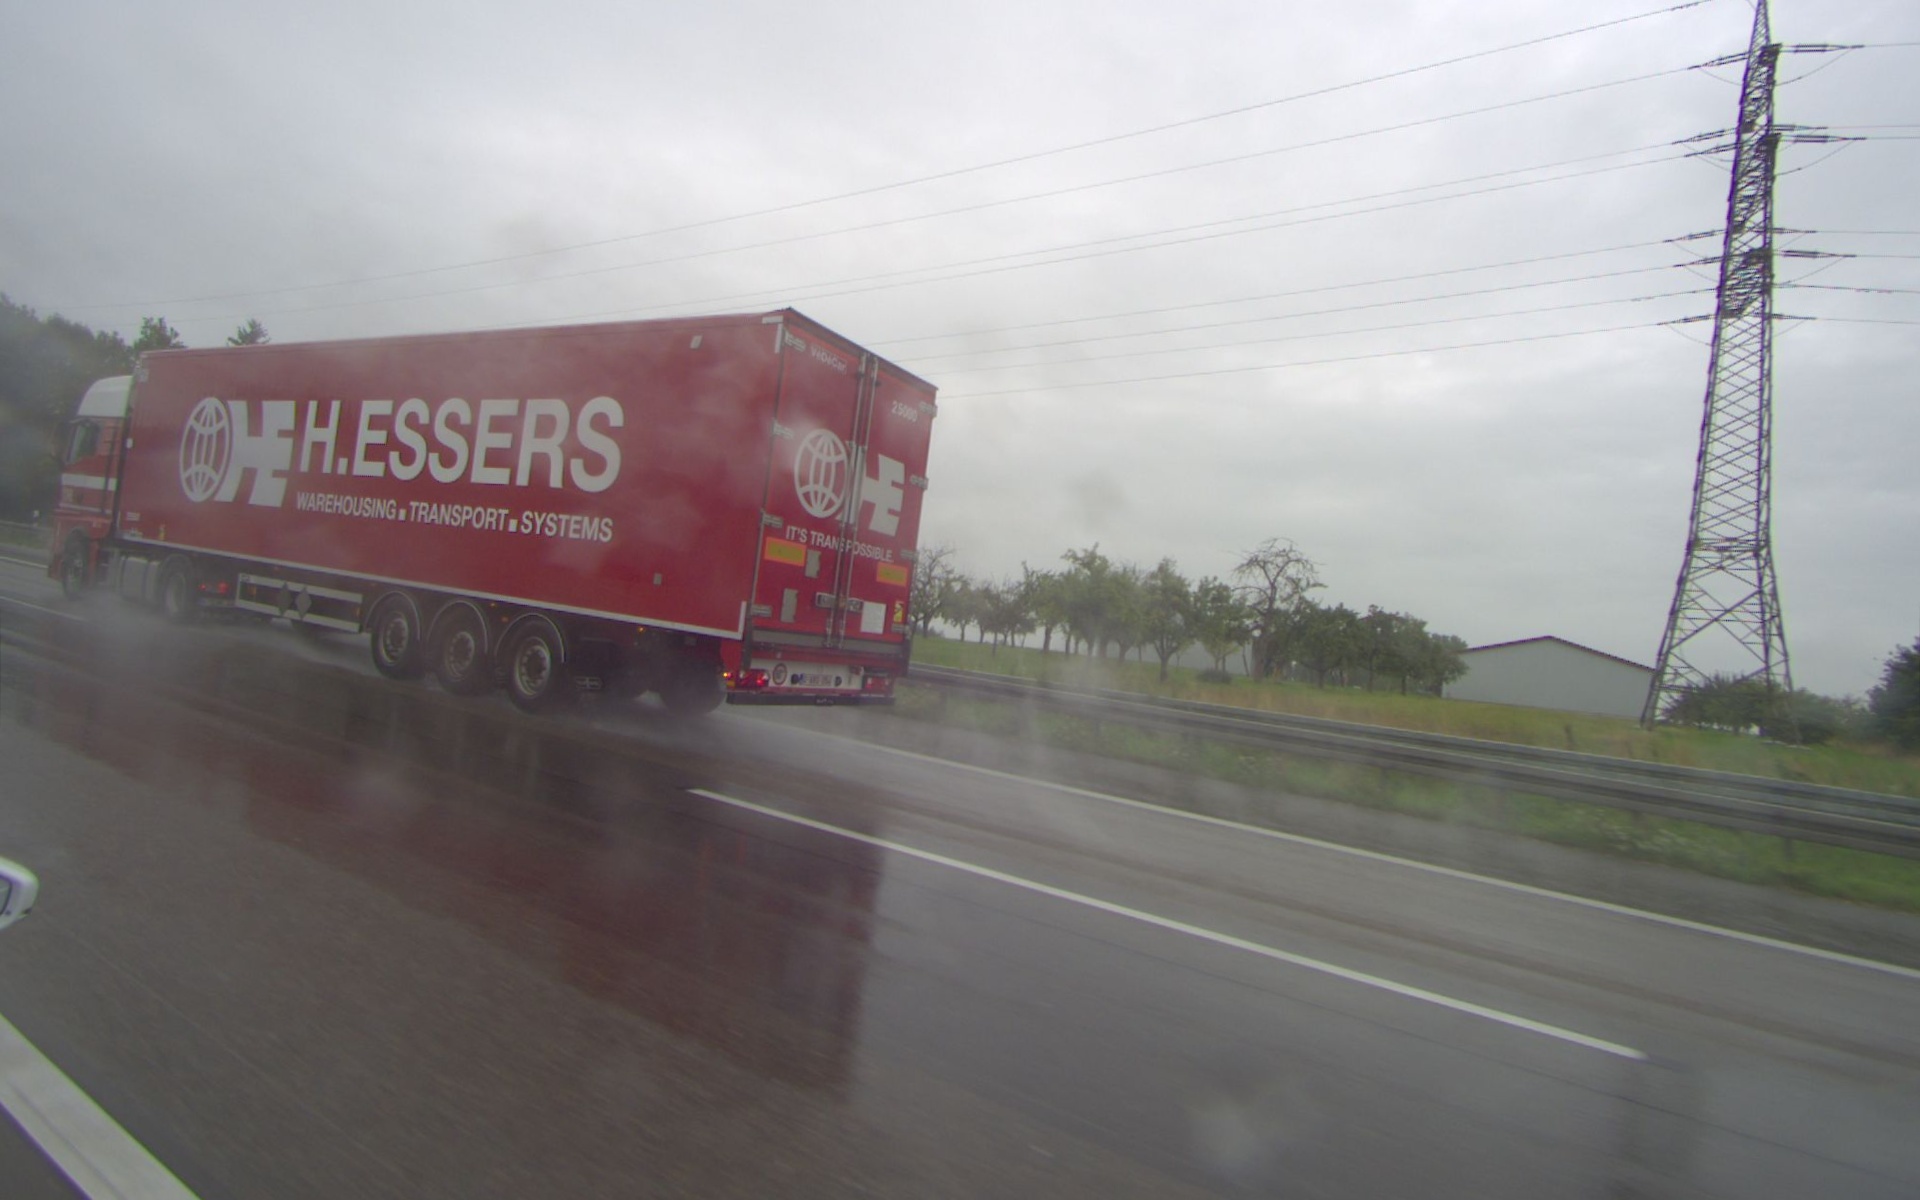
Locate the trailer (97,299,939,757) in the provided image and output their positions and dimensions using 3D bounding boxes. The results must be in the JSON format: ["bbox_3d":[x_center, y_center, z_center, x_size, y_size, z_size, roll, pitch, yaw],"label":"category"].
[{"bbox_3d":[-6.830,-1.156,13.319,13.402,4.002,2.625,7,-1,31],"label":"trailer"}]

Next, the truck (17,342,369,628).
[{"bbox_3d":[-13.096,-1.900,17.118,5.342,4.002,2.625,7,-1,31],"label":"truck"}]
